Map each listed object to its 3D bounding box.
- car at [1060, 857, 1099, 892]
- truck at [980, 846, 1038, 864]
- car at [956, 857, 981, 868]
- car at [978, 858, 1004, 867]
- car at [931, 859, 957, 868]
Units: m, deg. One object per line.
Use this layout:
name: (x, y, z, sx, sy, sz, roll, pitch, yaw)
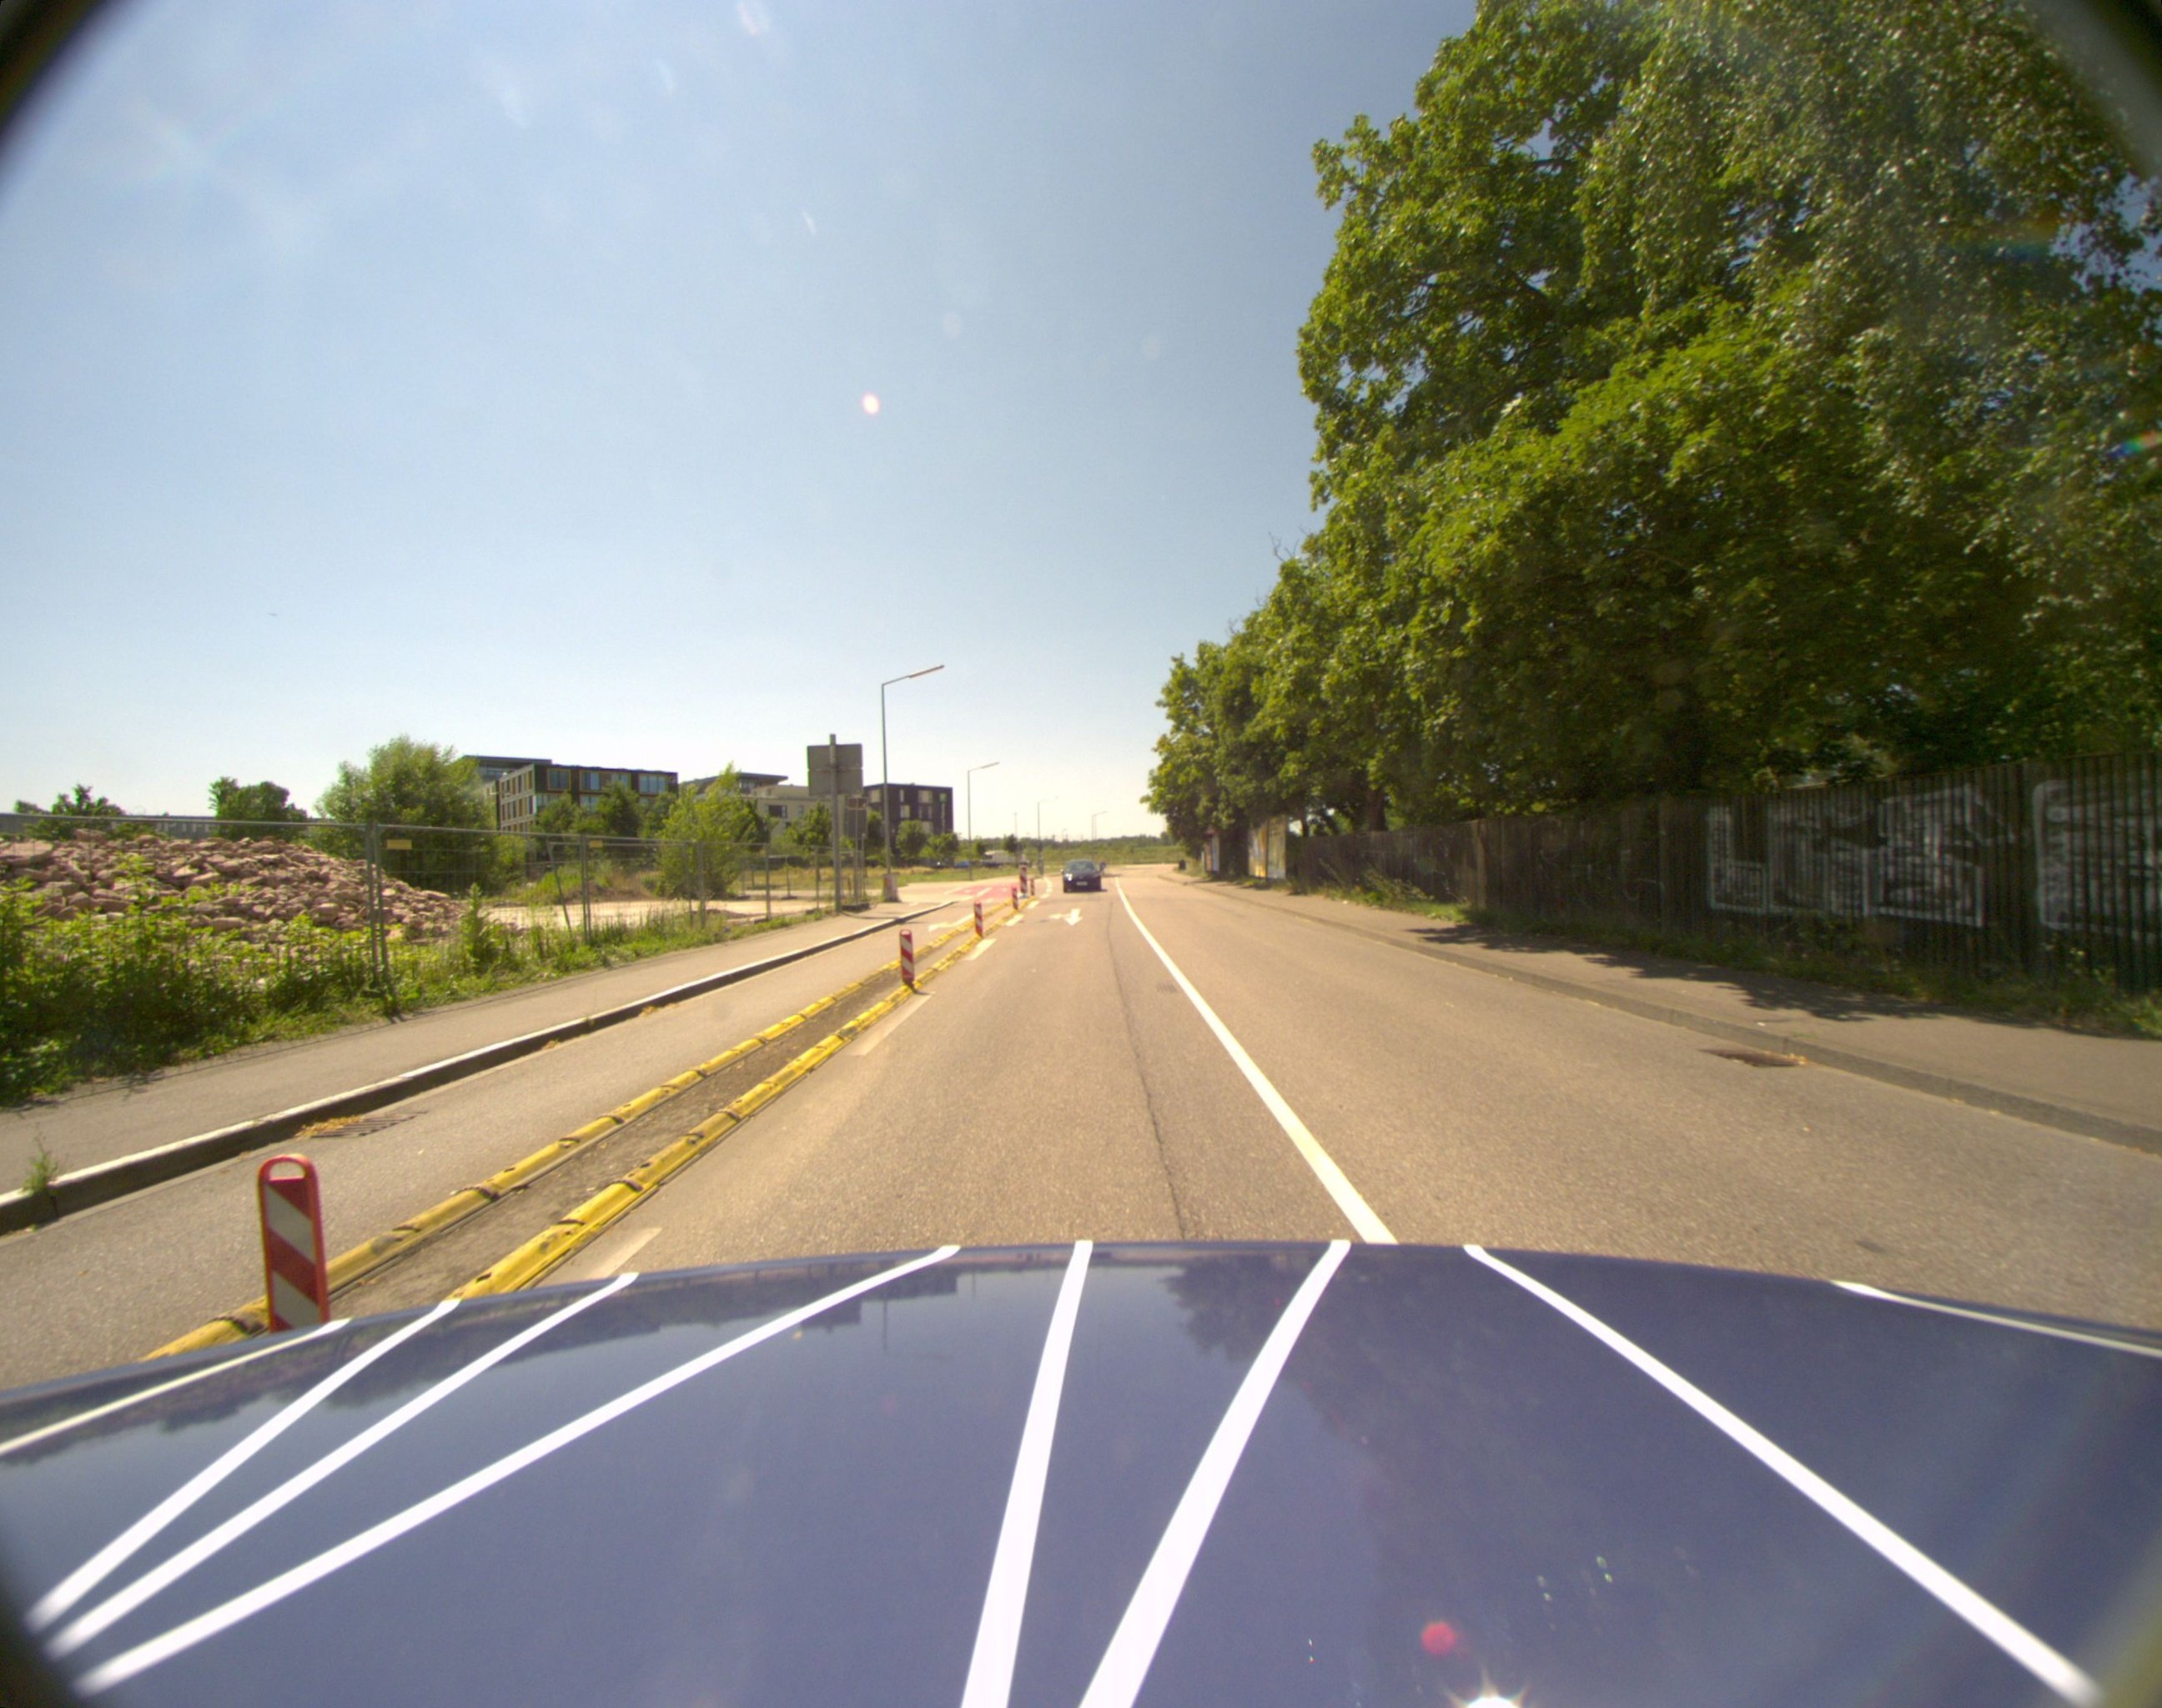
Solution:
car: (-0.041, 0.871, 34.542, 1.654, 1.458, 4.159, -1, 0, 0)
truck: (-14.125, 0.151, 150.359, 3.009, 3.442, 12.164, 1, 2, 44)
car: (-19.186, 1.448, 129.253, 4.060, 1.642, 1.959, -1, 0, 42)
car: (-15.621, 1.440, 132.303, 4.495, 1.553, 2.036, -1, 0, 42)
car: (-22.607, 1.599, 125.612, 4.115, 1.436, 1.966, -1, 0, 37)
